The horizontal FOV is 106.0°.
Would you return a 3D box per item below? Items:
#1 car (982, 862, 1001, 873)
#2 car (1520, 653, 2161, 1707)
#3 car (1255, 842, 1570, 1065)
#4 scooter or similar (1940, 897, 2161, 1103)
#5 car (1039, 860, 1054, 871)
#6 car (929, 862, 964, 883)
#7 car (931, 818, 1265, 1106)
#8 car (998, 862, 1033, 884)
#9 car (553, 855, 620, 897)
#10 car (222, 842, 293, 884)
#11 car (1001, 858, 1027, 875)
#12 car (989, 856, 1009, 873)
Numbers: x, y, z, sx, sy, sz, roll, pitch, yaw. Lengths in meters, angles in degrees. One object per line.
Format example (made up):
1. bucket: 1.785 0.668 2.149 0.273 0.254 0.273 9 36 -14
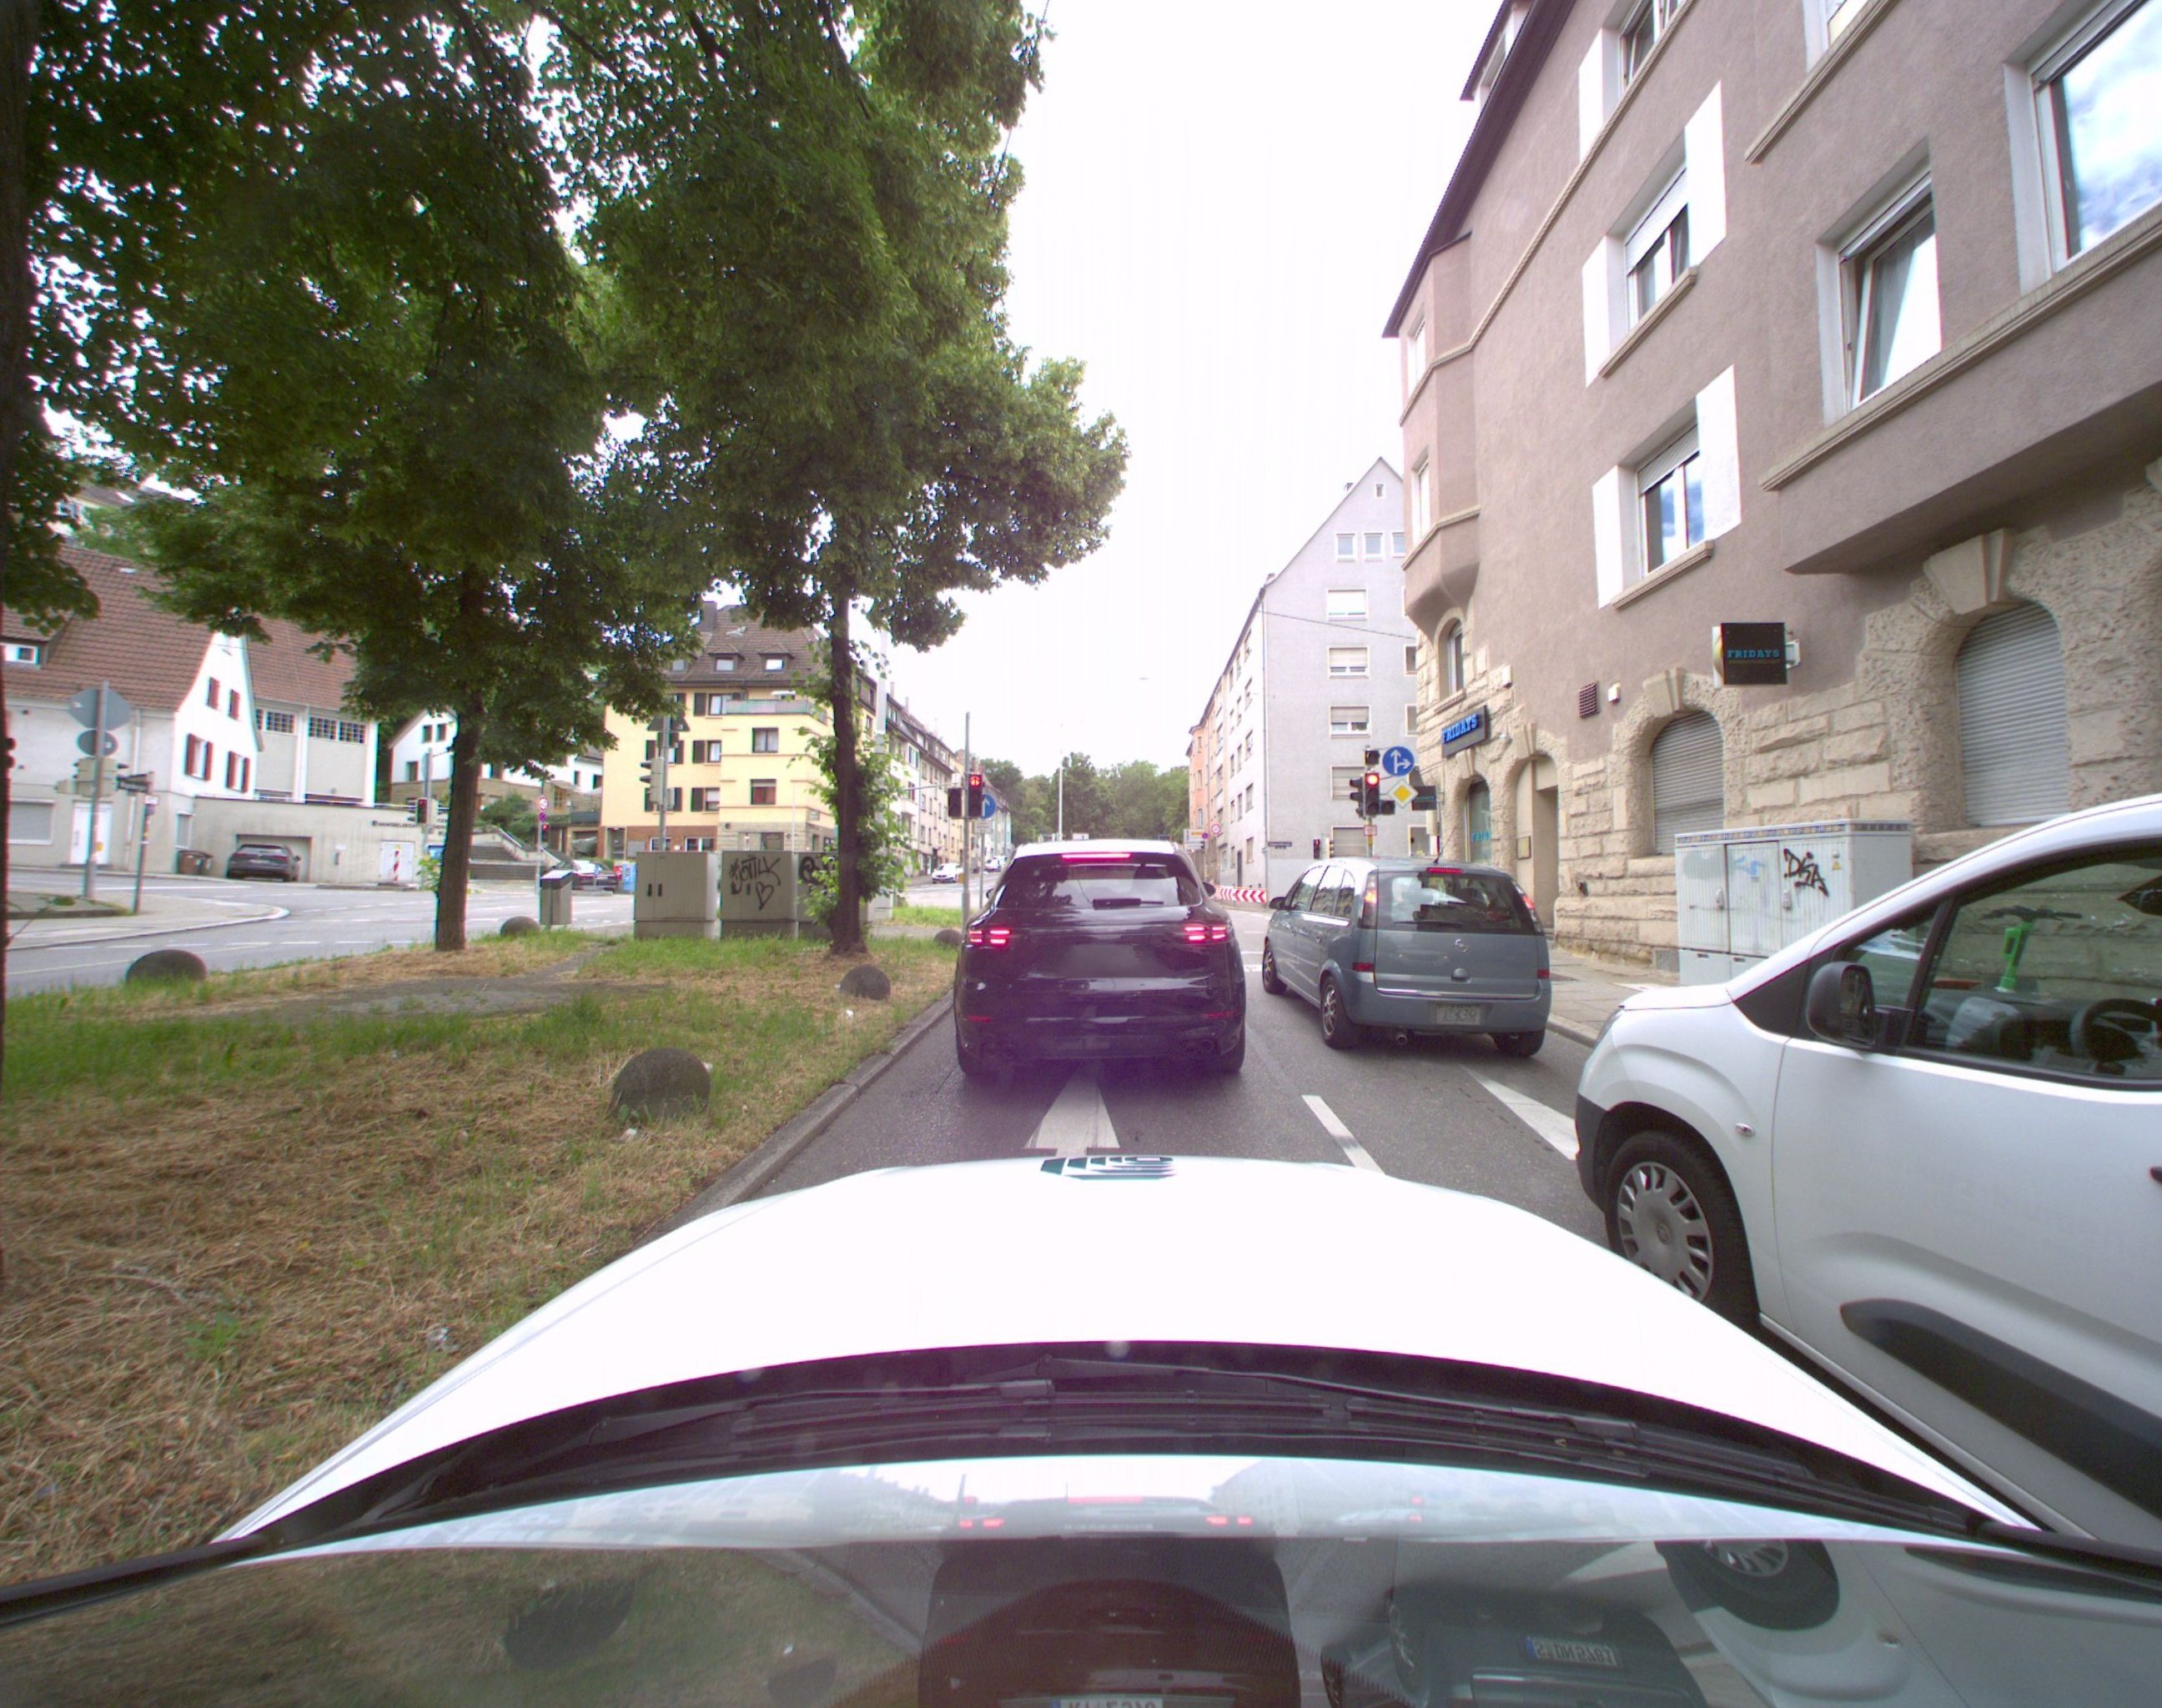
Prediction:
1. car: -10.858 1.644 99.273 1.732 1.387 3.815 0 0 2
2. car: 2.815 0.585 1.032 1.969 1.775 4.676 3 0 0
3. car: 2.868 0.755 7.924 1.622 1.598 3.670 3 0 2
4. scooter or similar: 6.444 0.864 5.168 0.524 1.104 1.424 -1 -1 4
5. car: -4.727 1.600 111.925 1.611 1.480 3.828 -1 -2 5
6. car: -10.128 1.361 61.686 1.837 1.486 3.900 0 -1 3
7. car: 0.161 0.659 6.837 1.948 1.674 4.001 -1 -1 2
8. car: -4.355 1.234 54.675 1.854 1.388 4.096 0 0 2
9. car: -23.604 1.008 38.828 3.477 1.596 1.881 7 4 44
10. car: -32.185 0.351 31.810 3.019 1.405 1.681 2 -4 42
11. car: -6.540 1.207 79.969 1.966 1.610 4.560 0 0 2
12. car: -10.547 1.351 104.914 2.008 2.045 4.669 0 -1 2
